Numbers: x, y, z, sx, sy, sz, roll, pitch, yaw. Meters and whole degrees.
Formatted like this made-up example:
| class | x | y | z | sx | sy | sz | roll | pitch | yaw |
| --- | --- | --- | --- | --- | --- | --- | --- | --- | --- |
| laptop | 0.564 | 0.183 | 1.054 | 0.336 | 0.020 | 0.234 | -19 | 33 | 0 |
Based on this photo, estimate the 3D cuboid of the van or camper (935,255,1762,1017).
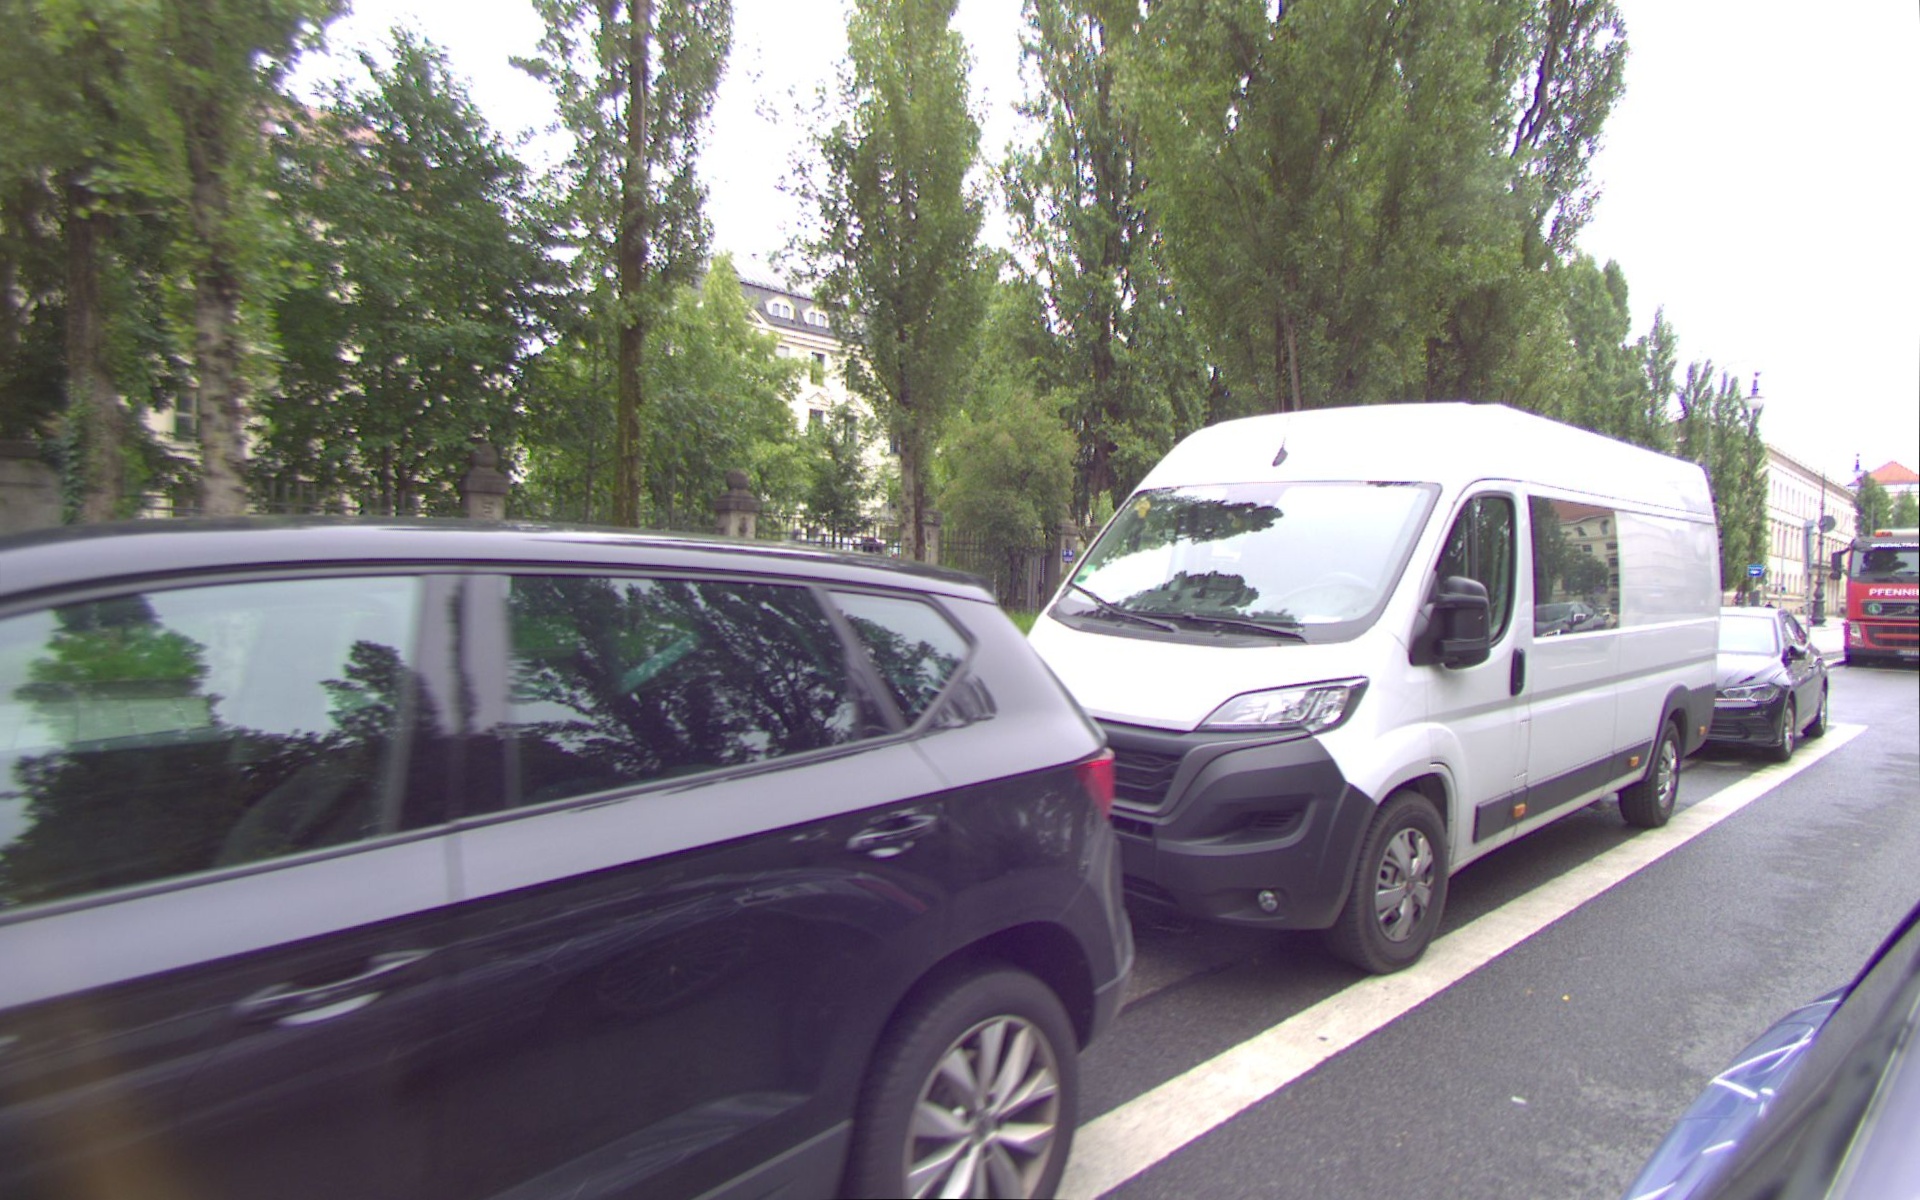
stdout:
| class | x | y | z | sx | sy | sz | roll | pitch | yaw |
| --- | --- | --- | --- | --- | --- | --- | --- | --- | --- |
| van or camper | 2.950 | 0.100 | 6.329 | 6.306 | 2.572 | 2.142 | 0 | 1 | -42 |

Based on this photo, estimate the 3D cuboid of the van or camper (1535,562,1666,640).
| class | x | y | z | sx | sy | sz | roll | pitch | yaw |
| --- | --- | --- | --- | --- | --- | --- | --- | --- | --- |
| van or camper | 18.383 | 0.021 | 28.943 | 4.902 | 2.039 | 2.005 | 1 | 0 | -43 |

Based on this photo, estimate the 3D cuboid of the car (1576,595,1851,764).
| class | x | y | z | sx | sy | sz | roll | pitch | yaw |
| --- | --- | --- | --- | --- | --- | --- | --- | --- | --- |
| car | 8.159 | 0.694 | 10.821 | 3.933 | 1.438 | 1.678 | 0 | 1 | -43 |

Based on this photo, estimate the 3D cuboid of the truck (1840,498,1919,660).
| class | x | y | z | sx | sy | sz | roll | pitch | yaw |
| --- | --- | --- | --- | --- | --- | --- | --- | --- | --- |
| truck | 25.230 | -0.437 | 25.990 | 10.103 | 3.609 | 2.849 | 0 | 0 | -43 |

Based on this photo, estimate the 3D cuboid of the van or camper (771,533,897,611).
| class | x | y | z | sx | sy | sz | roll | pitch | yaw |
| --- | --- | --- | --- | --- | --- | --- | --- | --- | --- |
| van or camper | -4.874 | -1.074 | 38.490 | 2.210 | 2.740 | 5.219 | 1 | 1 | -41 |

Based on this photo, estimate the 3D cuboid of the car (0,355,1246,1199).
| class | x | y | z | sx | sy | sz | roll | pitch | yaw |
| --- | --- | --- | --- | --- | --- | --- | --- | --- | --- |
| car | -1.423 | 0.558 | 1.868 | 4.344 | 1.669 | 1.786 | 1 | 1 | -44 |
